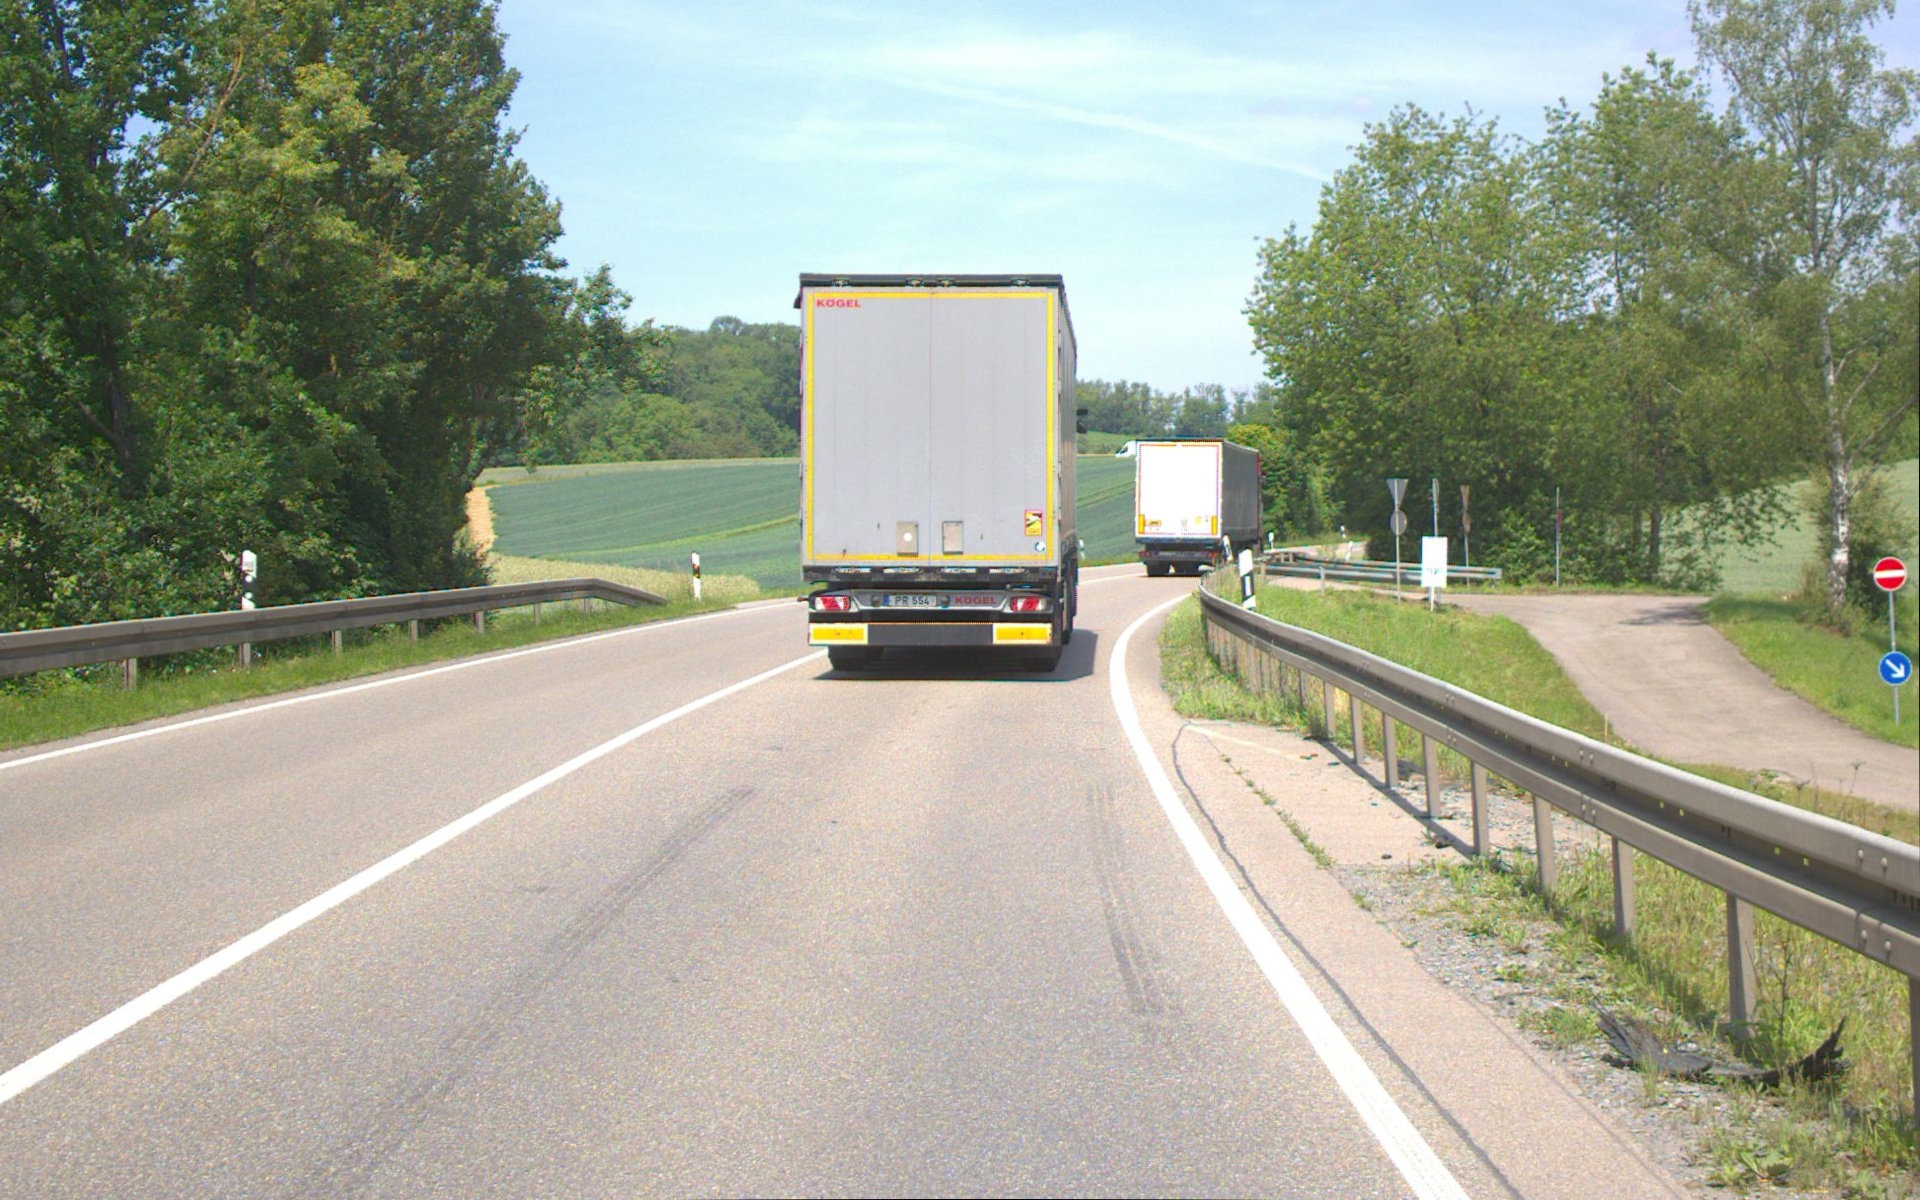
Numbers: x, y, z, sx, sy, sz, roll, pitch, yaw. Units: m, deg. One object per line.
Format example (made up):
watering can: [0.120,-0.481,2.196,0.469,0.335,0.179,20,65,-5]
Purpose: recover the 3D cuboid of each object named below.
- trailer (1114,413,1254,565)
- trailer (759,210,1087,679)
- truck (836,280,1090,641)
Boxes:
trailer: [7.050,-3.267,106.127,3.366,4.302,13.860,0,0,8]
trailer: [-0.100,-1.666,39.856,3.118,4.484,13.886,0,1,2]
truck: [0.161,-1.825,46.218,3.118,4.479,6.811,0,1,2]
